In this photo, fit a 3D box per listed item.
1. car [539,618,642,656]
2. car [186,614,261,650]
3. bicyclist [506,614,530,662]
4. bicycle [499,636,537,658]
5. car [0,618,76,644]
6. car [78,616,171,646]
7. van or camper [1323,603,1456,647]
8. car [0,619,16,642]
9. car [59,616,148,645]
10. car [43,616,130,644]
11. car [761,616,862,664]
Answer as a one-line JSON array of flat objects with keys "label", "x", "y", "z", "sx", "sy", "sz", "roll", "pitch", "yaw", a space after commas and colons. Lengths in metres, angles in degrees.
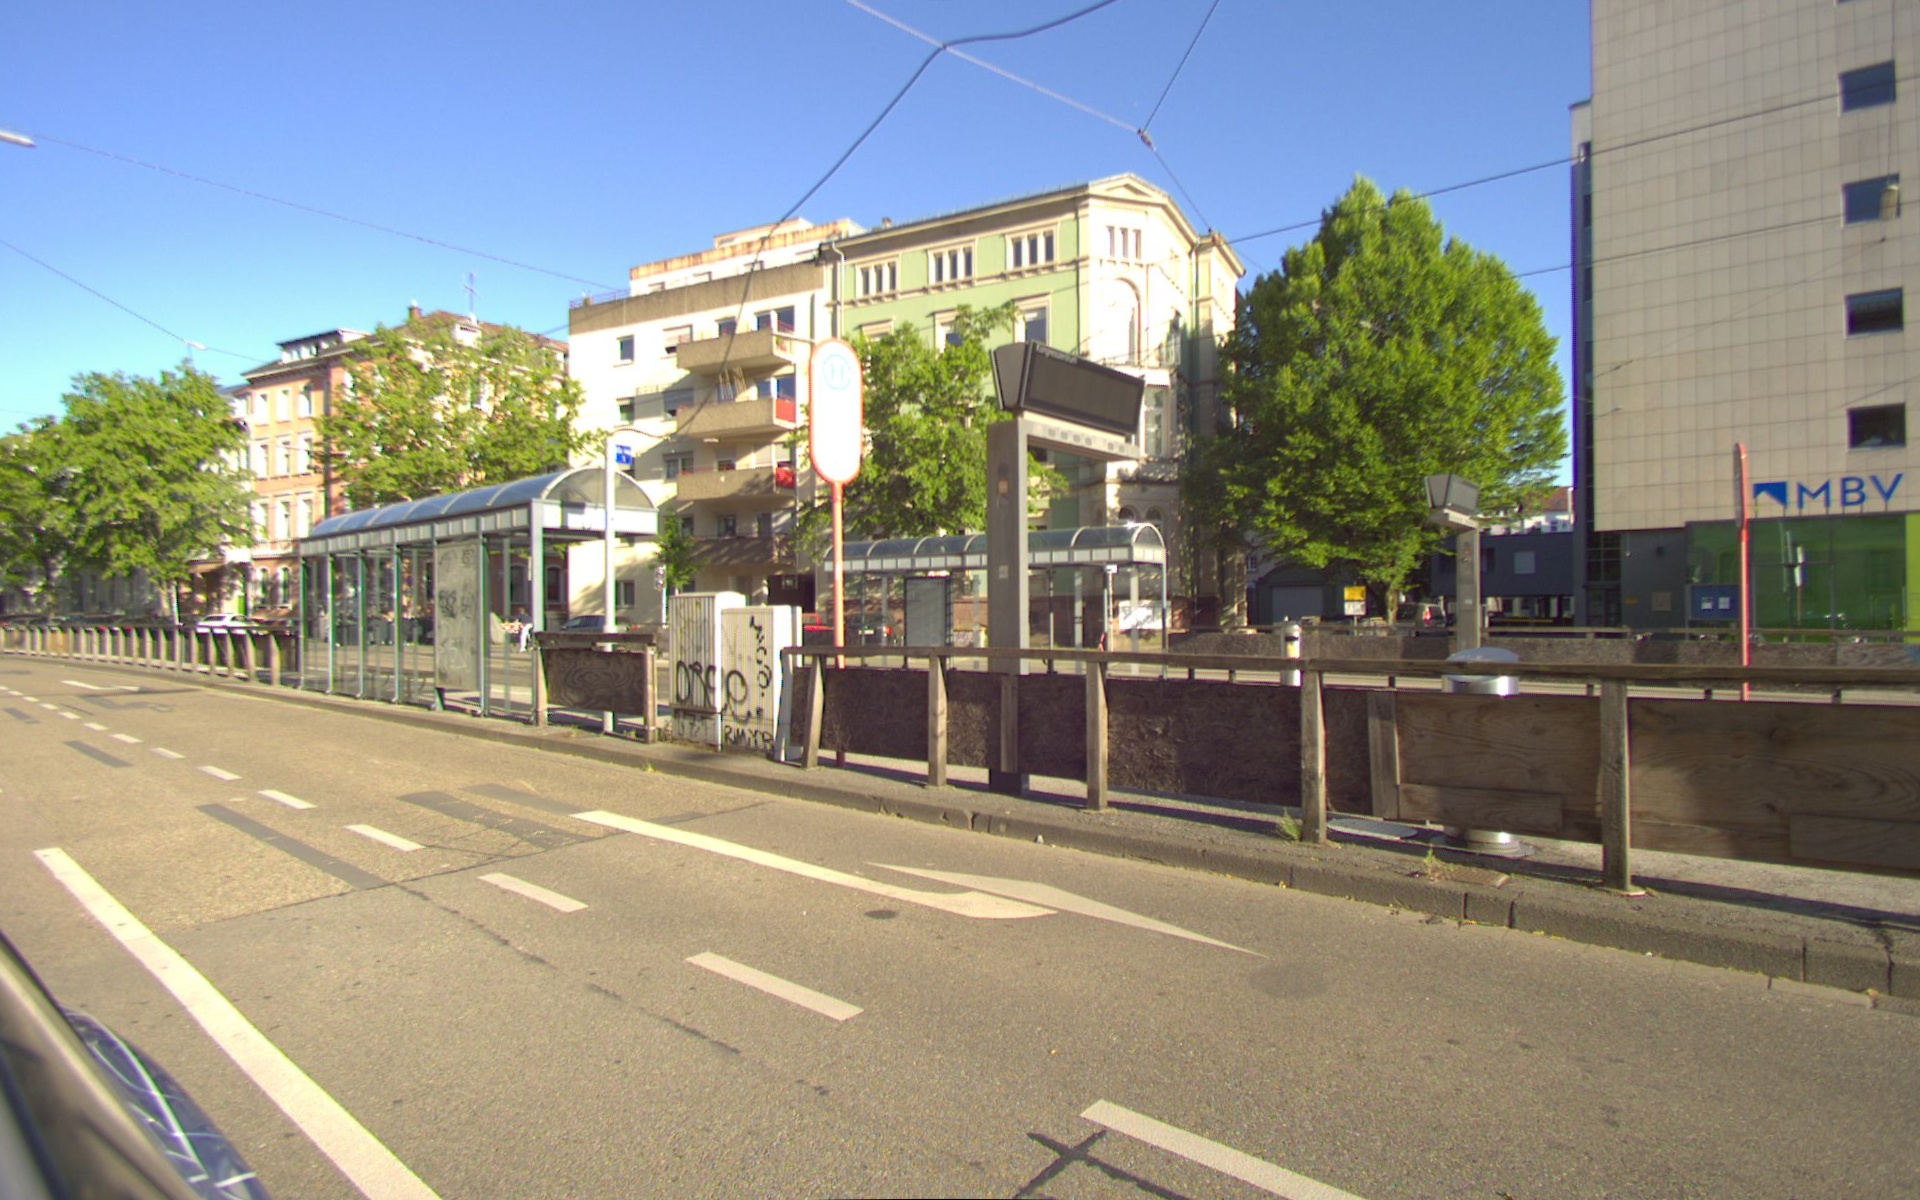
[{"label": "car", "x": -14.023, "y": 1.384, "z": 38.425, "sx": 3.498, "sy": 1.406, "sz": 1.602, "roll": -1, "pitch": -2, "yaw": 22}, {"label": "car", "x": -39.539, "y": 1.699, "z": 54.409, "sx": 1.966, "sy": 1.736, "sz": 4.012, "roll": 0, "pitch": 1, "yaw": -15}, {"label": "bicyclist", "x": -16.356, "y": 1.403, "z": 37.438, "sx": 0.770, "sy": 1.774, "sz": 0.529, "roll": -3, "pitch": -3, "yaw": 41}, {"label": "bicycle", "x": -16.356, "y": 1.754, "z": 37.441, "sx": 1.852, "sy": 0.793, "sz": 0.529, "roll": -3, "pitch": -3, "yaw": 41}, {"label": "car", "x": -59.627, "y": 1.989, "z": 65.307, "sx": 3.811, "sy": 1.604, "sz": 2.001, "roll": 1, "pitch": -2, "yaw": -45}, {"label": "car", "x": -47.994, "y": 1.765, "z": 58.192, "sx": 2.001, "sy": 1.697, "sz": 3.942, "roll": -2, "pitch": -2, "yaw": 44}, {"label": "van or camper", "x": 15.485, "y": 0.873, "z": 36.572, "sx": 3.998, "sy": 1.417, "sz": 1.943, "roll": 2, "pitch": 0, "yaw": 41}, {"label": "car", "x": -68.116, "y": 2.114, "z": 70.153, "sx": 2.001, "sy": 1.604, "sz": 3.812, "roll": -2, "pitch": -2, "yaw": 44}, {"label": "car", "x": -51.311, "y": 1.825, "z": 60.666, "sx": 2.001, "sy": 1.697, "sz": 3.942, "roll": -2, "pitch": -2, "yaw": 44}, {"label": "car", "x": -54.318, "y": 1.868, "z": 62.995, "sx": 2.001, "sy": 1.697, "sz": 3.942, "roll": -2, "pitch": -2, "yaw": 44}, {"label": "car", "x": -5.022, "y": 1.342, "z": 34.718, "sx": 1.763, "sy": 1.547, "sz": 3.763, "roll": -1, "pitch": -2, "yaw": 23}]
